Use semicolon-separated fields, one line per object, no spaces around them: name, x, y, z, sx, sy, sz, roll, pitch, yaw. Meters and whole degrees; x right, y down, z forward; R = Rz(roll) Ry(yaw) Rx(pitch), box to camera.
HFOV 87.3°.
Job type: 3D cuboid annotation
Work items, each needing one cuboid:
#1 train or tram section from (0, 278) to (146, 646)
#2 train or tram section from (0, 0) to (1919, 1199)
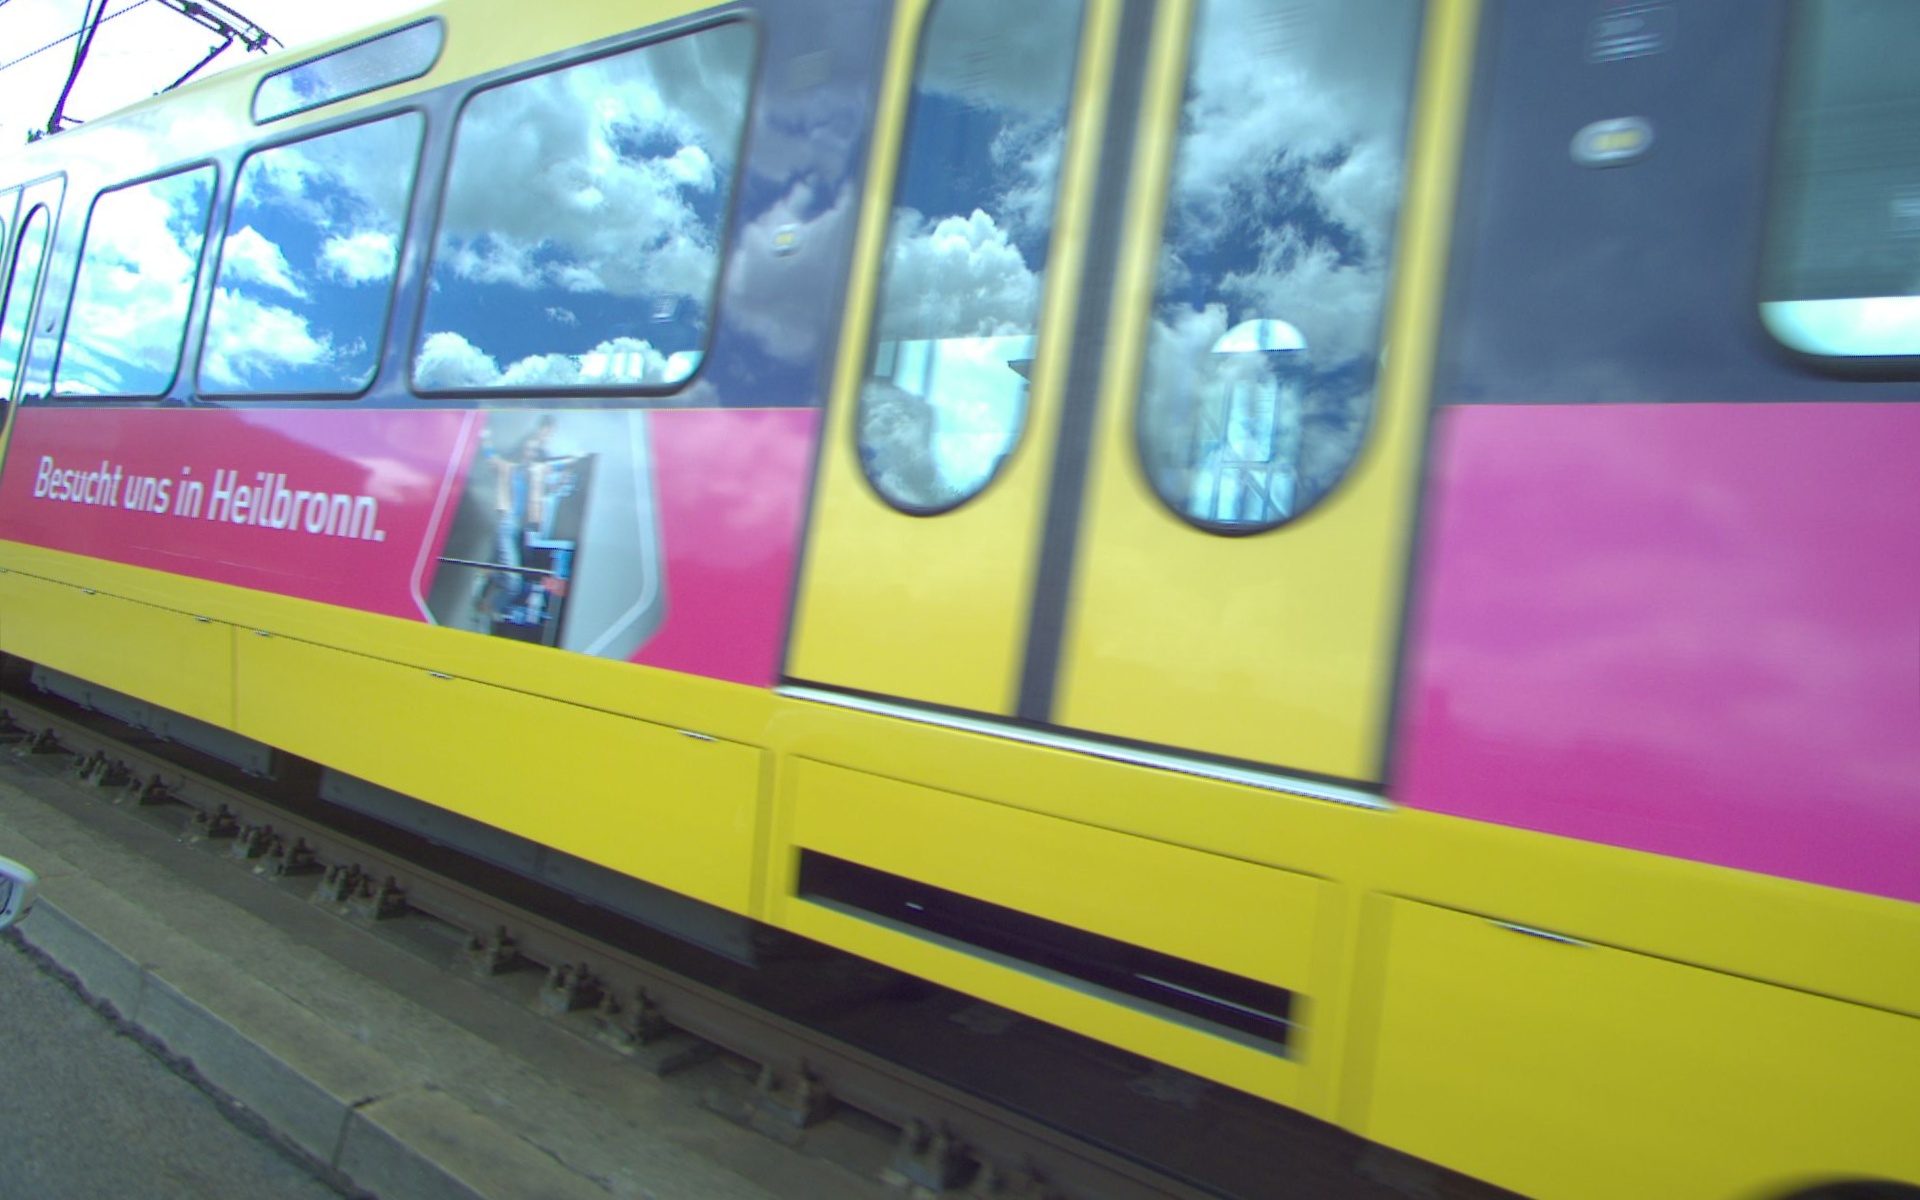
train or tram section;-17.642;-2.309;14.525;18.353;3.624;2.834;7;0;31
train or tram section;-2.063;-0.535;5.034;18.353;3.552;2.887;7;0;31
